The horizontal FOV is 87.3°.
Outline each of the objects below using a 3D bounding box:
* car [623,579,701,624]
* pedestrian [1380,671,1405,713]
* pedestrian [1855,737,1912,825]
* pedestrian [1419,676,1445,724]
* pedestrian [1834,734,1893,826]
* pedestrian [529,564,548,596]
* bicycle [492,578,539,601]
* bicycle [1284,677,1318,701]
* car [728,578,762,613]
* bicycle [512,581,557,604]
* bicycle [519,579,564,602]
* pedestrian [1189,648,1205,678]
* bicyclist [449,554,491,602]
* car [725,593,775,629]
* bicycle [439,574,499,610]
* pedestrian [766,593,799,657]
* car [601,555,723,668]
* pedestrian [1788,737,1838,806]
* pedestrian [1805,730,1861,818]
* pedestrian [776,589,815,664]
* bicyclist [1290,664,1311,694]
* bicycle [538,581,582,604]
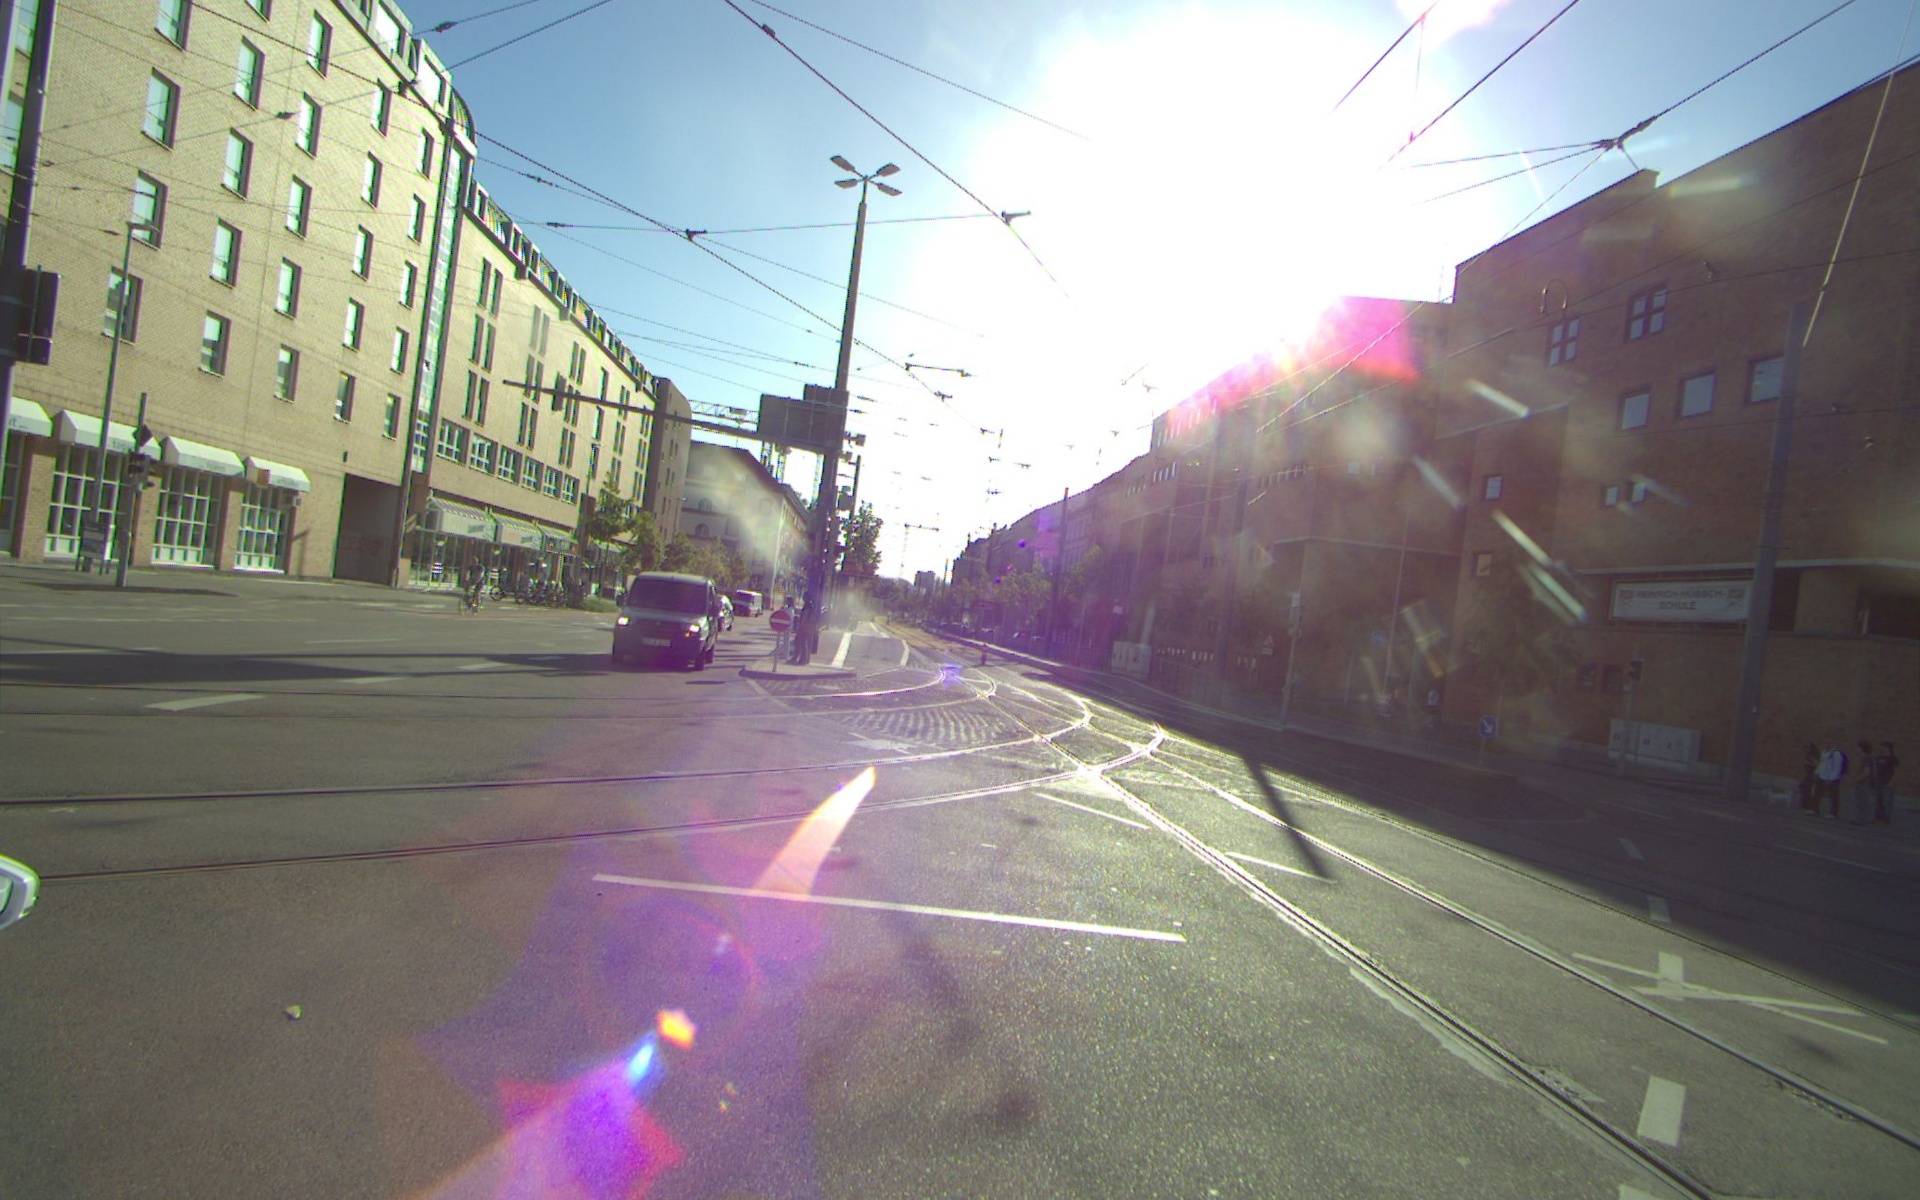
[{"bbox_3d":[-10.268,0.068,34.926,1.812,1.284,4.226,6,-1,-7],"label":"car"},{"bbox_3d":[19.663,4.190,45.734,0.630,1.808,0.688,6,0,-2],"label":"pedestrian"},{"bbox_3d":[20.176,3.947,21.983,0.564,1.808,0.548,6,0,-13],"label":"pedestrian"},{"bbox_3d":[19.224,4.066,40.966,0.539,1.810,0.572,7,3,-2],"label":"pedestrian"},{"bbox_3d":[19.050,3.781,21.217,0.564,1.808,0.548,6,0,-13],"label":"pedestrian"},{"bbox_3d":[-24.422,-1.153,58.255,0.706,1.786,0.565,6,0,-2],"label":"pedestrian"},{"bbox_3d":[-21.075,-0.491,47.684,2.001,0.855,0.483,7,0,5],"label":"bicycle"},{"bbox_3d":[16.984,4.426,50.146,0.639,0.915,2.345,7,-1,-4],"label":"bicycle"},{"bbox_3d":[-21.186,-0.488,99.592,2.344,3.035,8.458,7,0,-8],"label":"car"},{"bbox_3d":[-20.855,-0.376,49.301,2.001,0.855,0.483,7,0,5],"label":"bicycle"},{"bbox_3d":[-21.030,-0.473,50.516,2.001,0.932,0.483,7,0,5],"label":"bicycle"},{"bbox_3d":[15.088,4.030,63.992,0.631,1.808,0.688,6,0,-4],"label":"pedestrian"},{"bbox_3d":[-15.449,-0.694,31.764,0.798,1.393,0.925,6,0,-6],"label":"bicyclist"},{"bbox_3d":[-9.966,0.522,47.922,1.812,1.466,4.295,6,-1,-6],"label":"car"},{"bbox_3d":[-15.508,-0.226,31.840,0.798,1.003,2.507,7,-1,-6],"label":"bicycle"},{"bbox_3d":[-4.662,0.648,26.397,0.574,1.596,0.644,7,0,-18],"label":"pedestrian"},{"bbox_3d":[-5.800,0.224,20.031,1.814,1.858,4.100,5,-1,-11],"label":"car"},{"bbox_3d":[20.109,4.042,23.720,0.542,1.495,0.570,7,1,-23],"label":"pedestrian"},{"bbox_3d":[19.156,3.811,22.082,0.564,1.808,0.548,6,0,-13],"label":"pedestrian"},{"bbox_3d":[-4.013,0.643,24.565,0.710,1.748,0.594,7,0,-4],"label":"pedestrian"},{"bbox_3d":[17.028,3.951,50.336,0.636,1.355,0.652,7,0,-4],"label":"bicyclist"},{"bbox_3d":[-20.558,-0.365,51.730,2.001,0.932,0.483,7,0,5],"label":"bicycle"}]
